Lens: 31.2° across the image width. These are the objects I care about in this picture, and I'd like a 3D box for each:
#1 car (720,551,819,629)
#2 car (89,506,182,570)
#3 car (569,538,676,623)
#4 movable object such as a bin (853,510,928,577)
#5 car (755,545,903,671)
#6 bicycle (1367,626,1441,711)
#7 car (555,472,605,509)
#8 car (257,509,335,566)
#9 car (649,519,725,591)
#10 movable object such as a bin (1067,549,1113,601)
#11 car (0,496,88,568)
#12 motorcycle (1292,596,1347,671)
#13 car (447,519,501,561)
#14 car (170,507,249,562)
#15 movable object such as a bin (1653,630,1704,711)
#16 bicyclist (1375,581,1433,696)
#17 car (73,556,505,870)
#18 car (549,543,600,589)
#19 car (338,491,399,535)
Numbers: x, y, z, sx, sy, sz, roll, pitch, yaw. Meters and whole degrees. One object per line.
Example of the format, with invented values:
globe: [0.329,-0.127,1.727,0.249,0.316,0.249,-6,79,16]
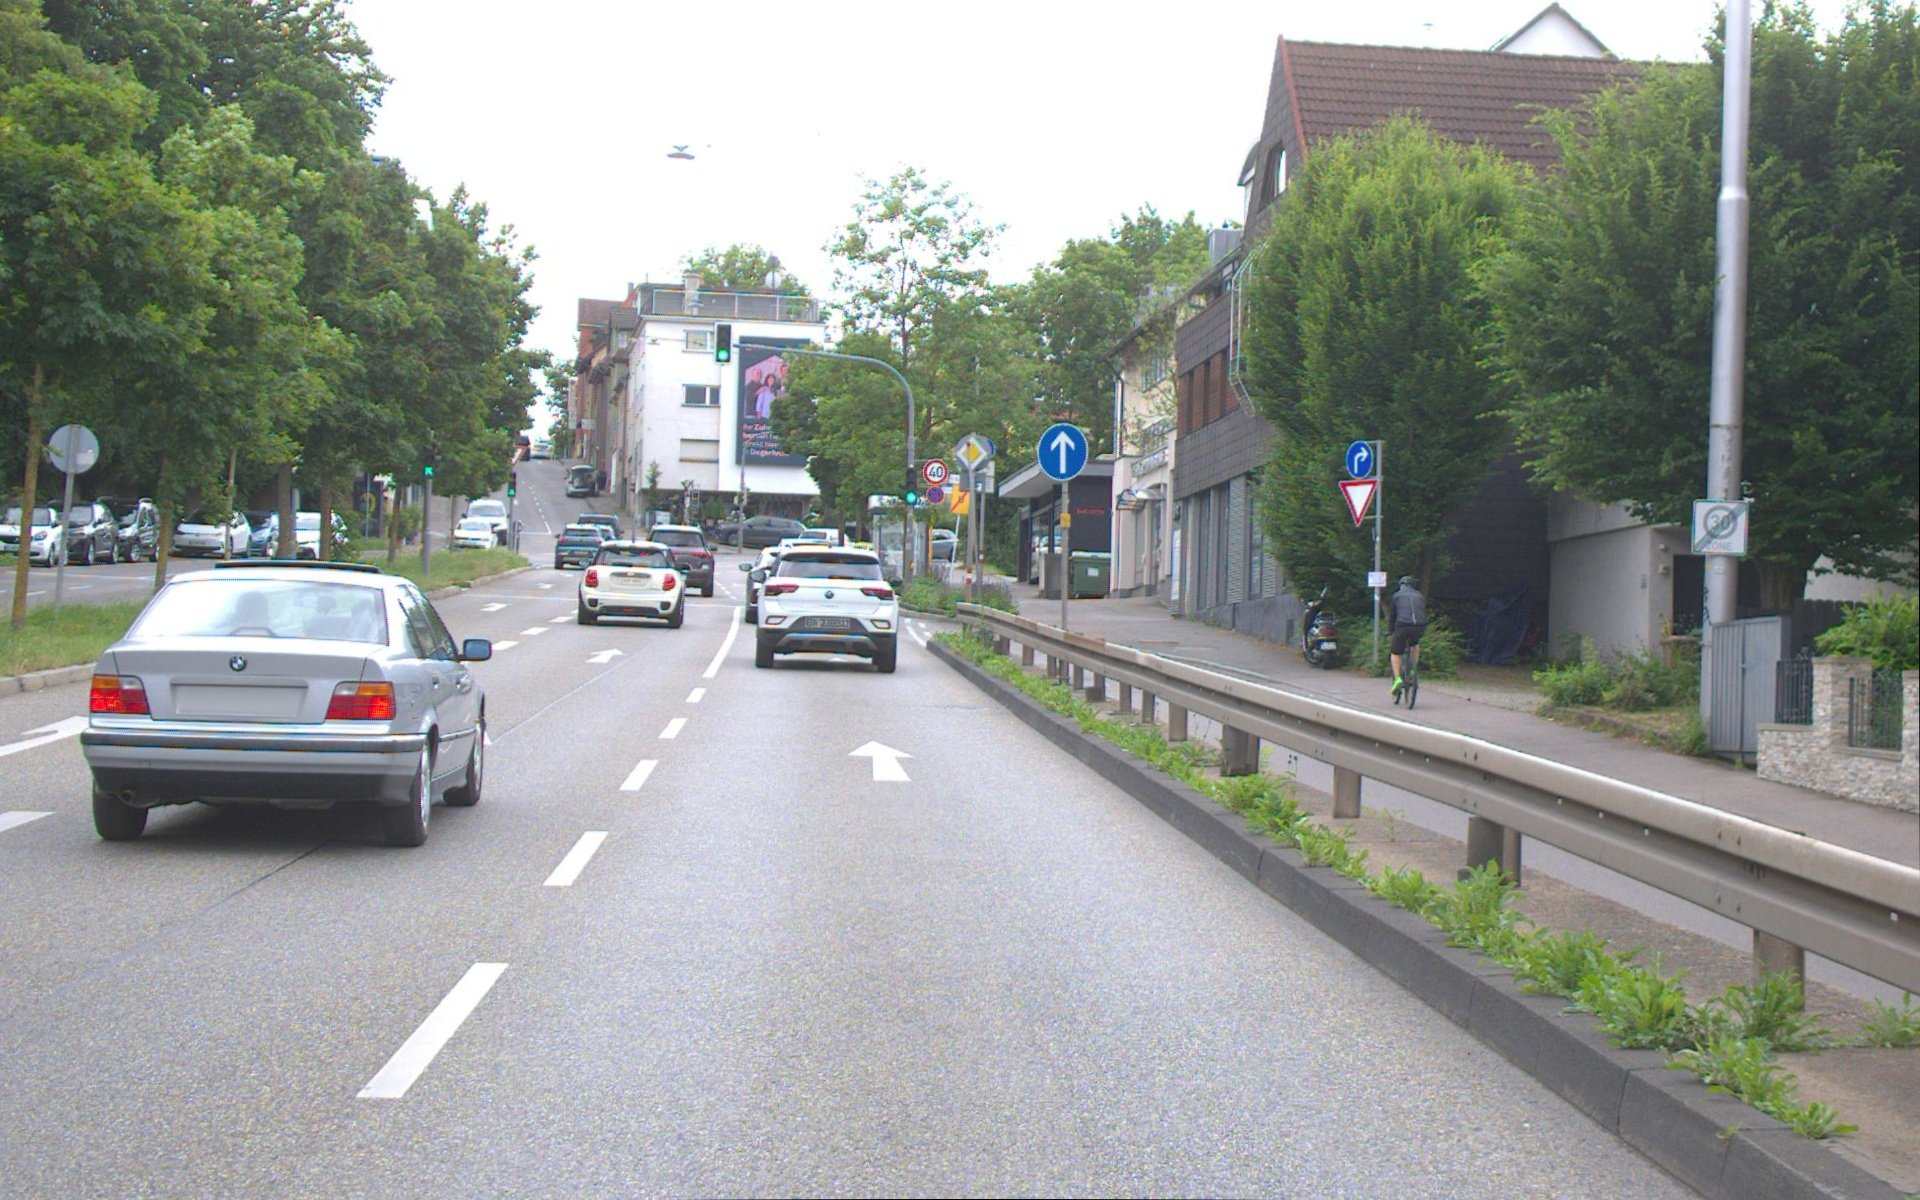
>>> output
car: [-3.543,-0.188,63.548,1.722,1.371,3.457,-1,0,-4]
car: [-23.314,-1.778,97.362,1.859,1.664,4.280,3,1,-5]
car: [-5.671,-0.329,57.920,1.722,1.371,3.457,-1,0,-5]
movable object such as a bin: [-2.068,-1.695,102.296,1.891,1.863,1.529,3,1,-11]
car: [-1.687,0.087,43.903,1.797,1.514,3.457,-1,0,-3]
bicycle: [6.058,0.920,46.976,0.566,1.059,2.006,-1,2,-5]
car: [-22.588,-6.483,204.527,2.510,2.006,5.182,3,1,-2]
car: [-20.906,-1.989,108.360,1.860,1.664,4.280,3,1,-4]
car: [-6.493,-1.058,81.568,1.722,1.634,3.457,-1,0,-6]
movable object such as a bin: [3.775,-0.731,99.672,1.195,1.403,0.711,3,1,-3]
car: [-23.440,-1.749,87.155,1.859,1.664,4.280,3,1,-5]
motorcycle: [5.944,0.544,56.921,0.608,1.158,2.041,1,1,-2]
car: [-19.593,-2.453,138.807,1.859,1.536,4.280,3,1,-5]
car: [-23.874,-2.105,109.476,1.859,1.588,4.280,3,1,-5]
movable object such as a bin: [9.729,0.954,46.579,0.494,1.054,0.538,3,1,-2]
bicyclist: [6.052,0.514,46.878,0.566,1.519,0.959,-1,1,-5]
car: [-3.467,0.507,18.530,1.634,1.378,4.621,2,1,-3]
car: [-13.442,-1.174,120.029,1.722,1.577,3.457,-1,0,-6]
car: [-22.233,-3.276,129.331,1.859,1.536,4.280,3,1,-5]
